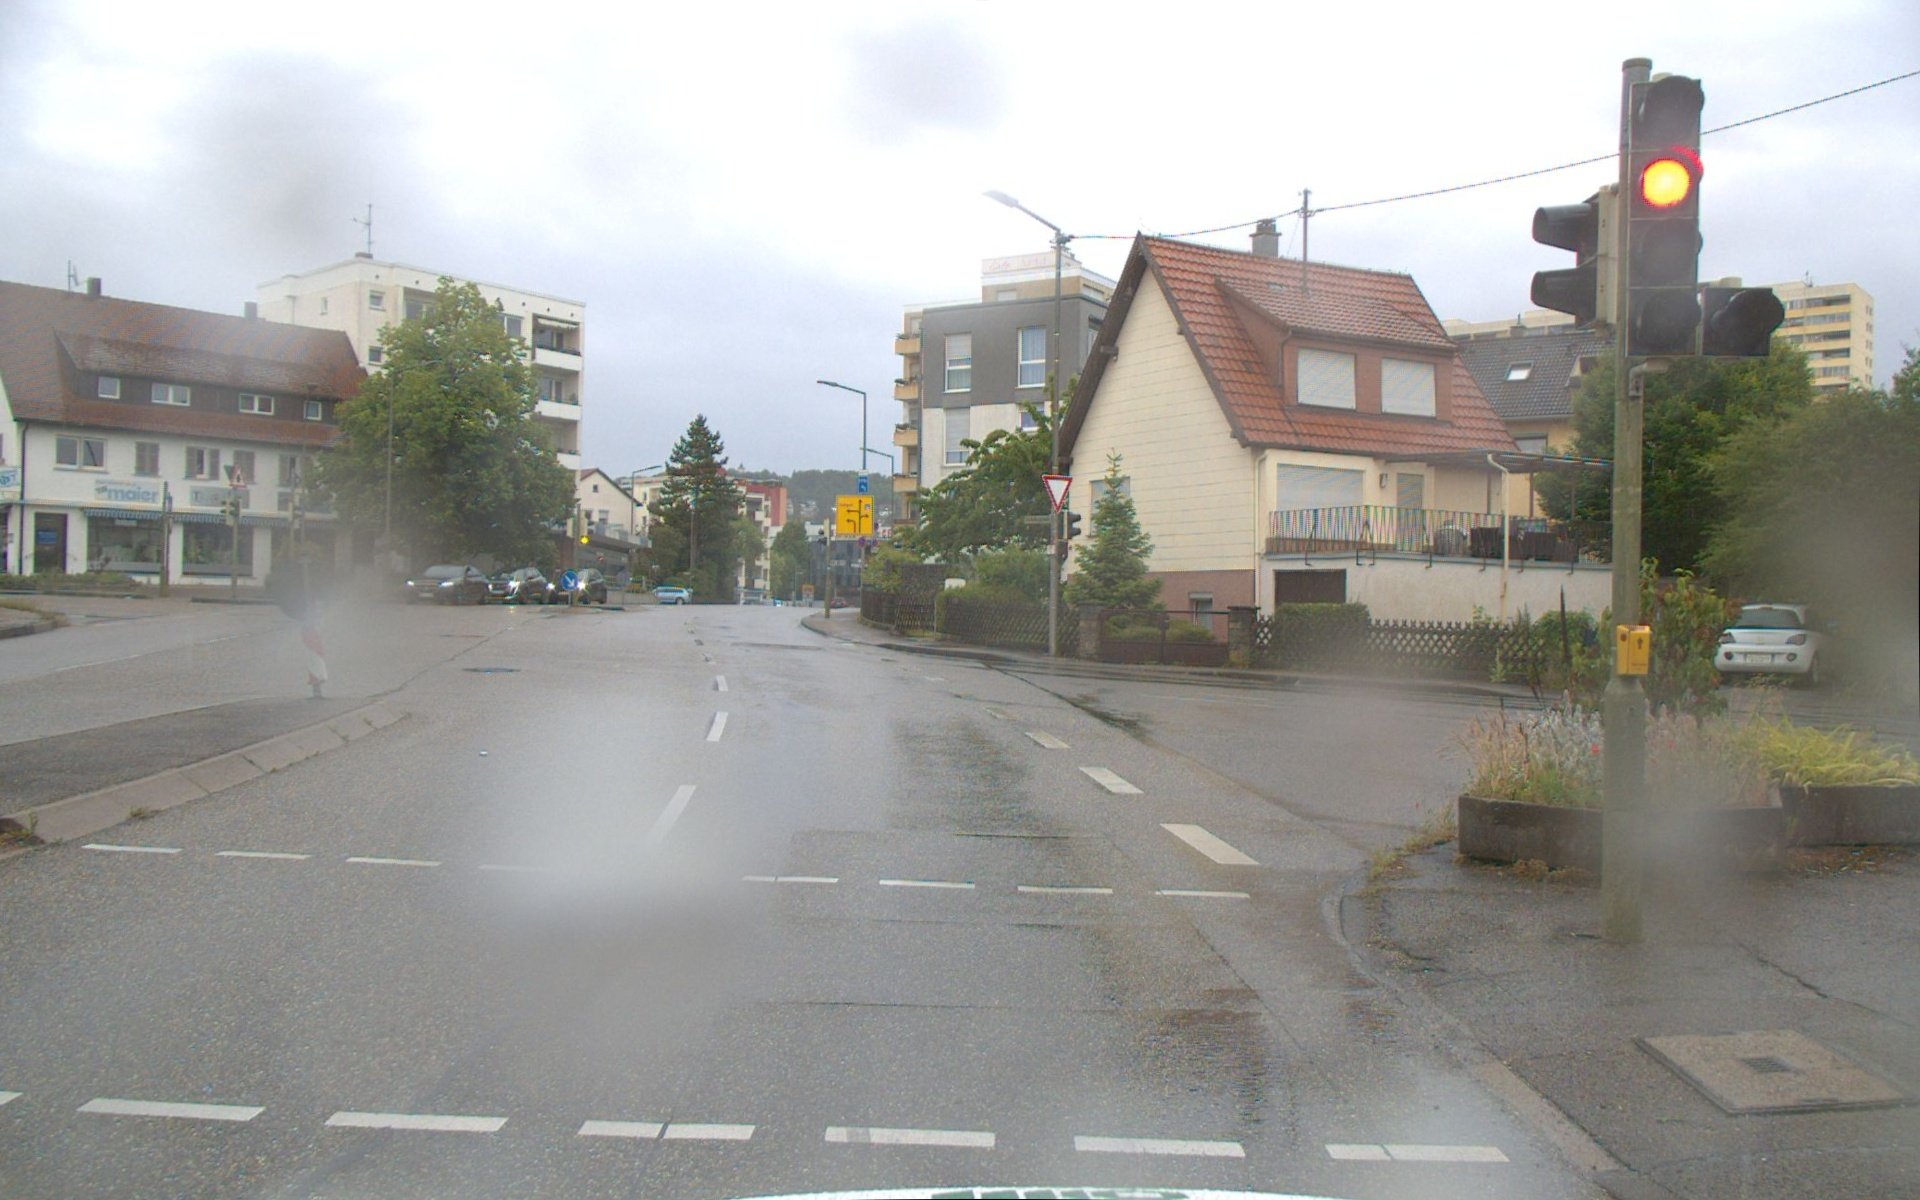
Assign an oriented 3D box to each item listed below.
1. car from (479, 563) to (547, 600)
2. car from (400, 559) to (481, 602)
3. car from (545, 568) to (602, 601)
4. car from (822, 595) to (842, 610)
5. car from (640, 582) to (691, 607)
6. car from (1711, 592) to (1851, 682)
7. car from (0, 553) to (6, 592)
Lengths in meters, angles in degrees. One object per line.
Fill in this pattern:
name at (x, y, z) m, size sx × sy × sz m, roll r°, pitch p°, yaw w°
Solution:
car at (-17.908, -0.734, 66.362) m, size 1.680 × 1.411 × 4.020 m, roll 1°, pitch 1°, yaw -1°
car at (-18.477, -0.705, 58.974) m, size 1.742 × 1.445 × 3.830 m, roll 1°, pitch 1°, yaw -1°
car at (-17.590, -0.715, 75.364) m, size 1.742 × 1.445 × 3.830 m, roll 1°, pitch 1°, yaw -1°
car at (-13.467, 0.272, 174.528) m, size 1.776 × 1.512 × 4.189 m, roll 0°, pitch 1°, yaw 0°
car at (-23.217, -0.459, 130.469) m, size 3.773 × 1.847 × 1.760 m, roll 1°, pitch 1°, yaw -5°
car at (15.475, 0.648, 31.077) m, size 1.710 × 1.541 × 3.985 m, roll 2°, pitch 1°, yaw 36°
car at (-40.807, -1.160, 66.458) m, size 3.938 × 1.599 × 1.842 m, roll 1°, pitch 1°, yaw -45°
